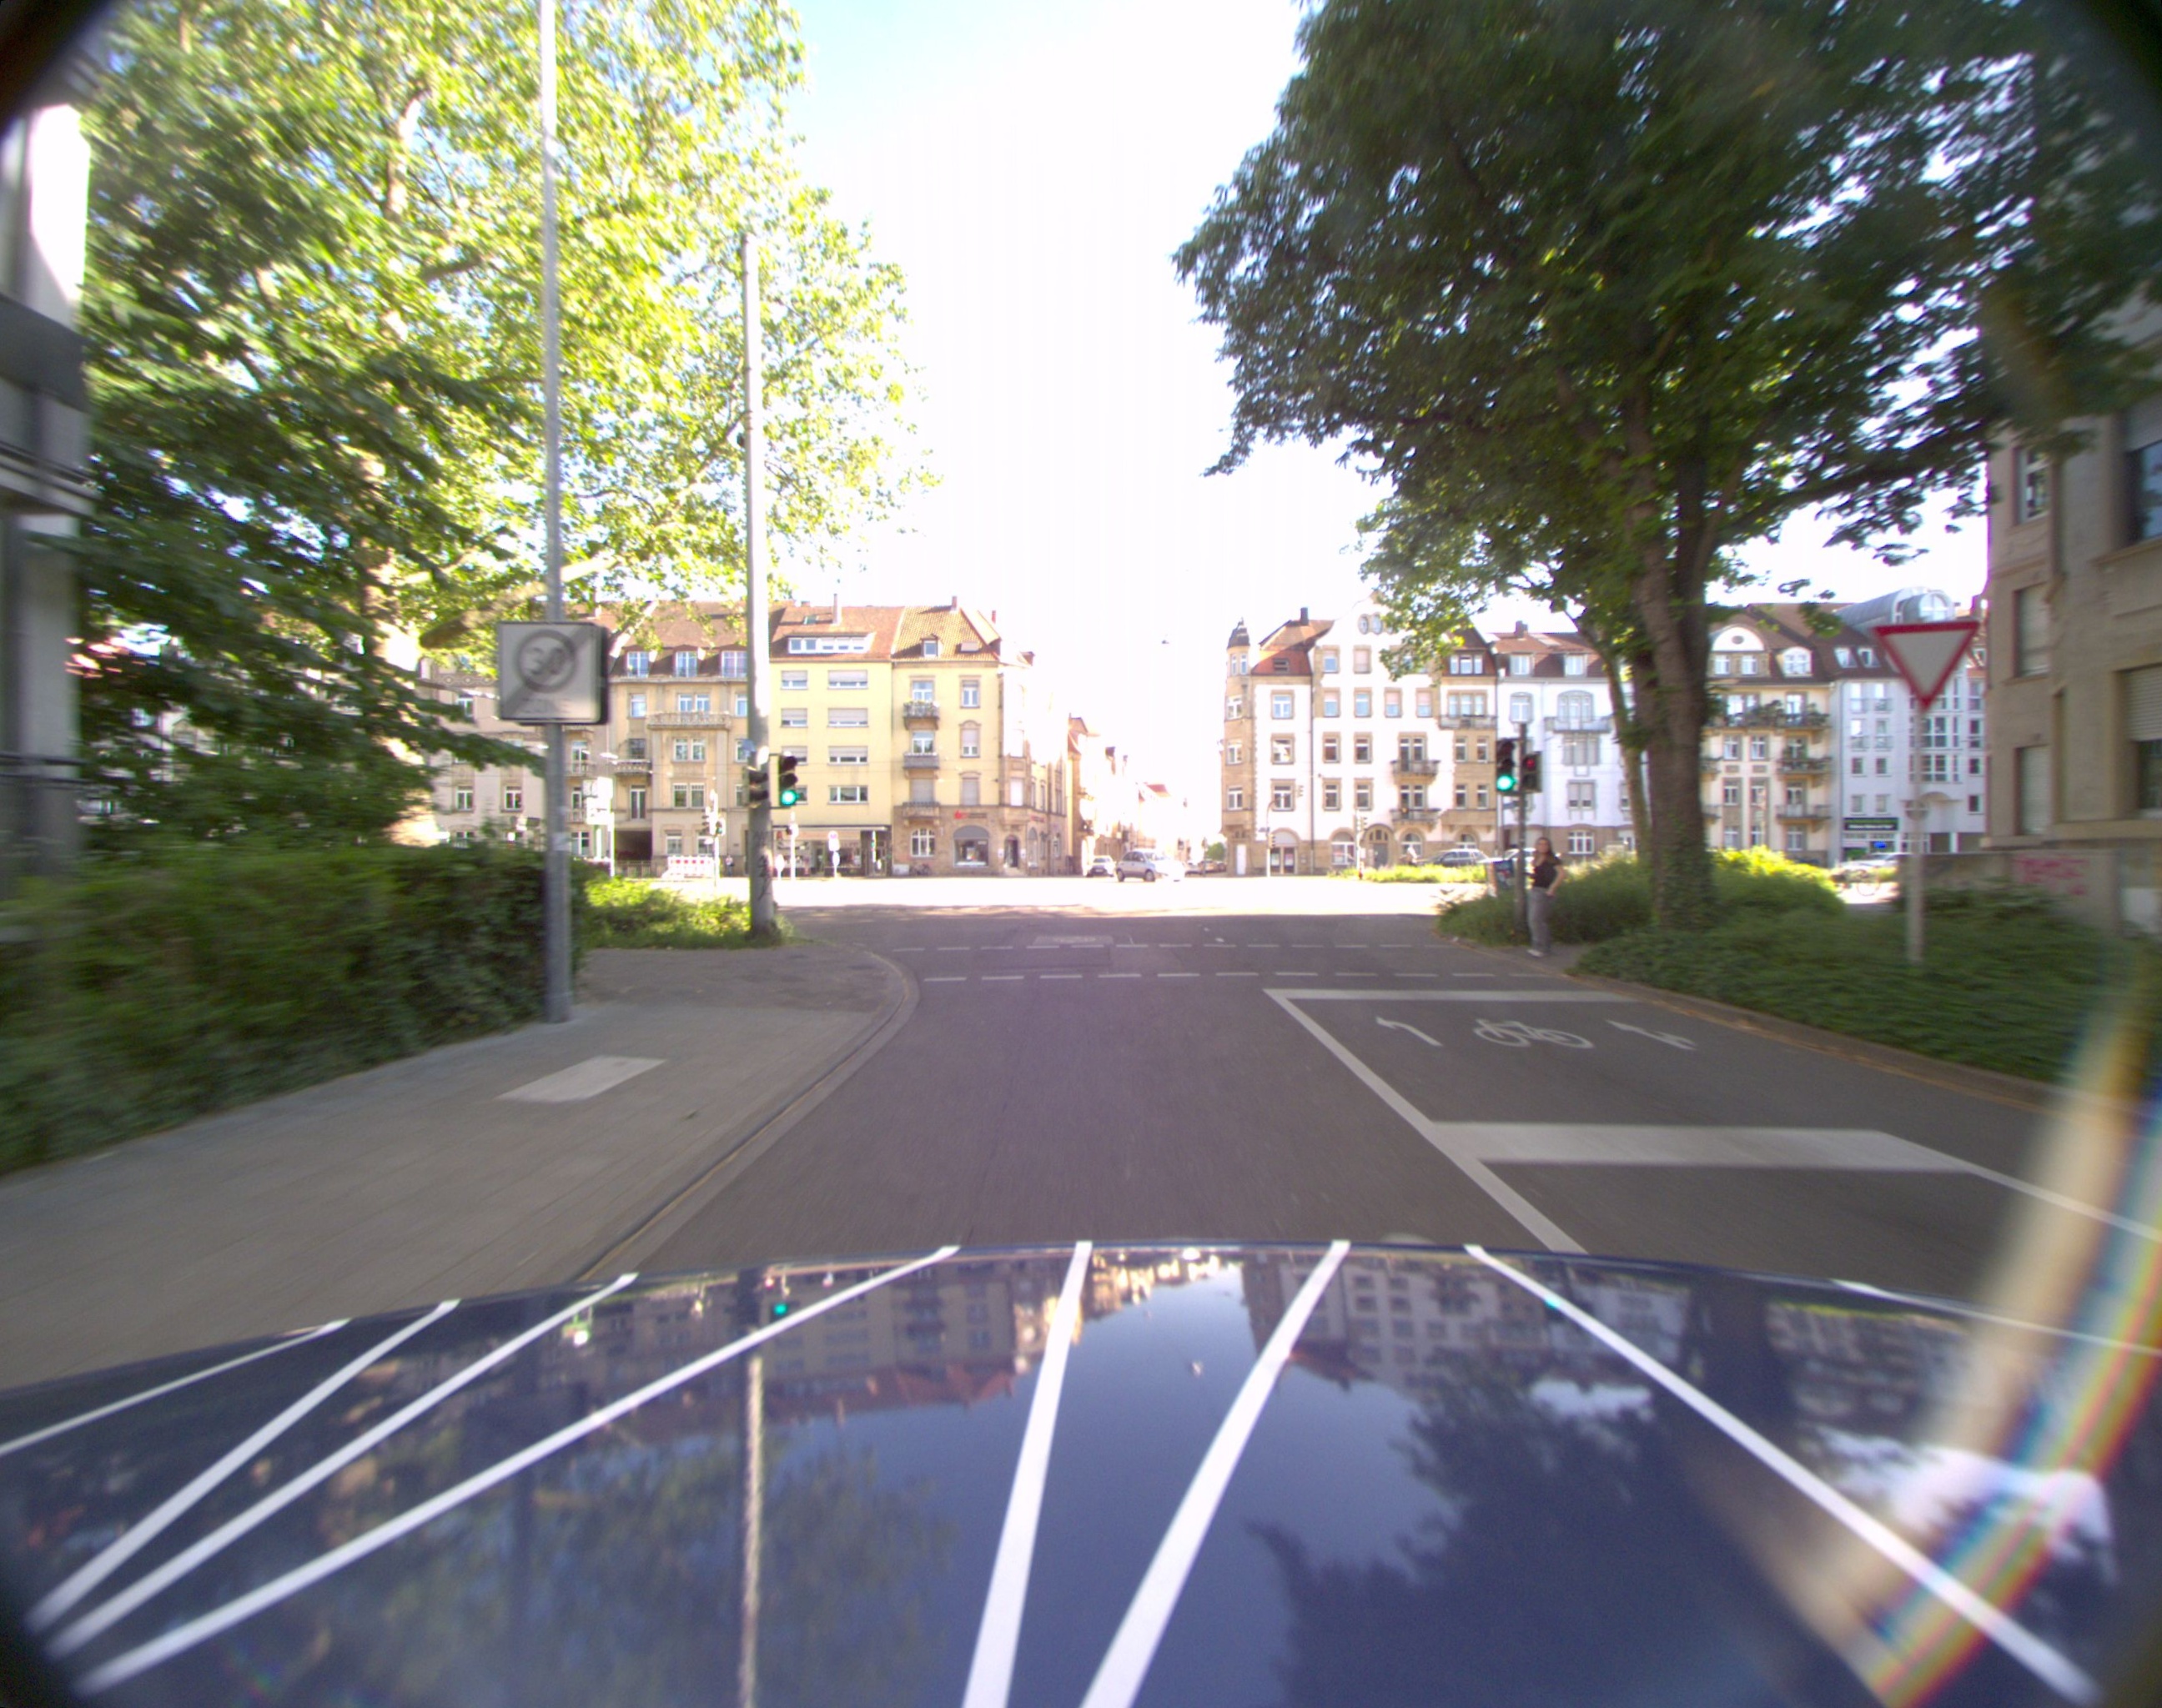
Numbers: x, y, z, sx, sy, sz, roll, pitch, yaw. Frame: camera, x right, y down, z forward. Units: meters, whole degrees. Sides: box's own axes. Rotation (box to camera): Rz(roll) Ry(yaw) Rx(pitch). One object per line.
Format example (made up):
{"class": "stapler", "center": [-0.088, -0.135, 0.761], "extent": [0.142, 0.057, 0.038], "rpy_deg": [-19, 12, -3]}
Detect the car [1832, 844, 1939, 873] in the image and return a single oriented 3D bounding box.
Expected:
{"class": "car", "center": [46.342, 0.243, 43.846], "extent": [4.243, 1.582, 1.819], "rpy_deg": [0, 0, 0]}

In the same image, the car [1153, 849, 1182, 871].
{"class": "car", "center": [5.733, 0.377, 50.495], "extent": [1.664, 1.455, 3.809], "rpy_deg": [0, 0, 3]}

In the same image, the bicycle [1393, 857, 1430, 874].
{"class": "bicycle", "center": [17.930, 0.614, 41.218], "extent": [1.636, 0.919, 0.795], "rpy_deg": [0, 0, 1]}

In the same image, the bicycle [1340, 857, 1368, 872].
{"class": "bicycle", "center": [20.119, 0.768, 56.048], "extent": [1.809, 1.127, 0.610], "rpy_deg": [0, 0, 0]}

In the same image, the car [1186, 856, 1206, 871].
{"class": "car", "center": [11.546, 0.918, 76.095], "extent": [1.554, 1.403, 3.576], "rpy_deg": [2, 0, 16]}

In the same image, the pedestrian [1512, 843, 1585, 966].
{"class": "pedestrian", "center": [6.555, 0.681, 10.687], "extent": [0.695, 1.672, 0.681], "rpy_deg": [0, 1, 13]}

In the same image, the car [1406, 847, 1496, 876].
{"class": "car", "center": [21.322, 0.460, 43.920], "extent": [4.237, 1.634, 2.001], "rpy_deg": [0, -1, 1]}

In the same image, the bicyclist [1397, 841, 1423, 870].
{"class": "bicyclist", "center": [17.845, 0.093, 41.216], "extent": [1.074, 1.533, 0.687], "rpy_deg": [0, 1, 1]}

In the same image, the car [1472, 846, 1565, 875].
{"class": "car", "center": [23.648, 0.341, 41.125], "extent": [4.016, 1.521, 1.766], "rpy_deg": [0, 0, 1]}

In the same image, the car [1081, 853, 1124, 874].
{"class": "car", "center": [1.487, 0.596, 51.047], "extent": [1.861, 1.346, 4.222], "rpy_deg": [0, 0, 16]}

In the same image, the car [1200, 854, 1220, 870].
{"class": "car", "center": [15.423, 0.942, 90.528], "extent": [1.915, 1.649, 4.351], "rpy_deg": [-4, -1, 15]}

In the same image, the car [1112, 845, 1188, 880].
{"class": "car", "center": [3.154, 0.374, 35.390], "extent": [1.656, 1.559, 3.607], "rpy_deg": [0, 0, -34]}

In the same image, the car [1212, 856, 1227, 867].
{"class": "car", "center": [21.086, 1.185, 115.631], "extent": [1.915, 1.508, 4.351], "rpy_deg": [-4, -1, 15]}

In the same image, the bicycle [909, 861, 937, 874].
{"class": "bicycle", "center": [-11.746, 0.998, 56.438], "extent": [1.951, 0.970, 0.516], "rpy_deg": [0, 3, 0]}

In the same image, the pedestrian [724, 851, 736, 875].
{"class": "pedestrian", "center": [-25.831, 0.667, 55.976], "extent": [0.521, 1.792, 0.709], "rpy_deg": [0, 0, 4]}
